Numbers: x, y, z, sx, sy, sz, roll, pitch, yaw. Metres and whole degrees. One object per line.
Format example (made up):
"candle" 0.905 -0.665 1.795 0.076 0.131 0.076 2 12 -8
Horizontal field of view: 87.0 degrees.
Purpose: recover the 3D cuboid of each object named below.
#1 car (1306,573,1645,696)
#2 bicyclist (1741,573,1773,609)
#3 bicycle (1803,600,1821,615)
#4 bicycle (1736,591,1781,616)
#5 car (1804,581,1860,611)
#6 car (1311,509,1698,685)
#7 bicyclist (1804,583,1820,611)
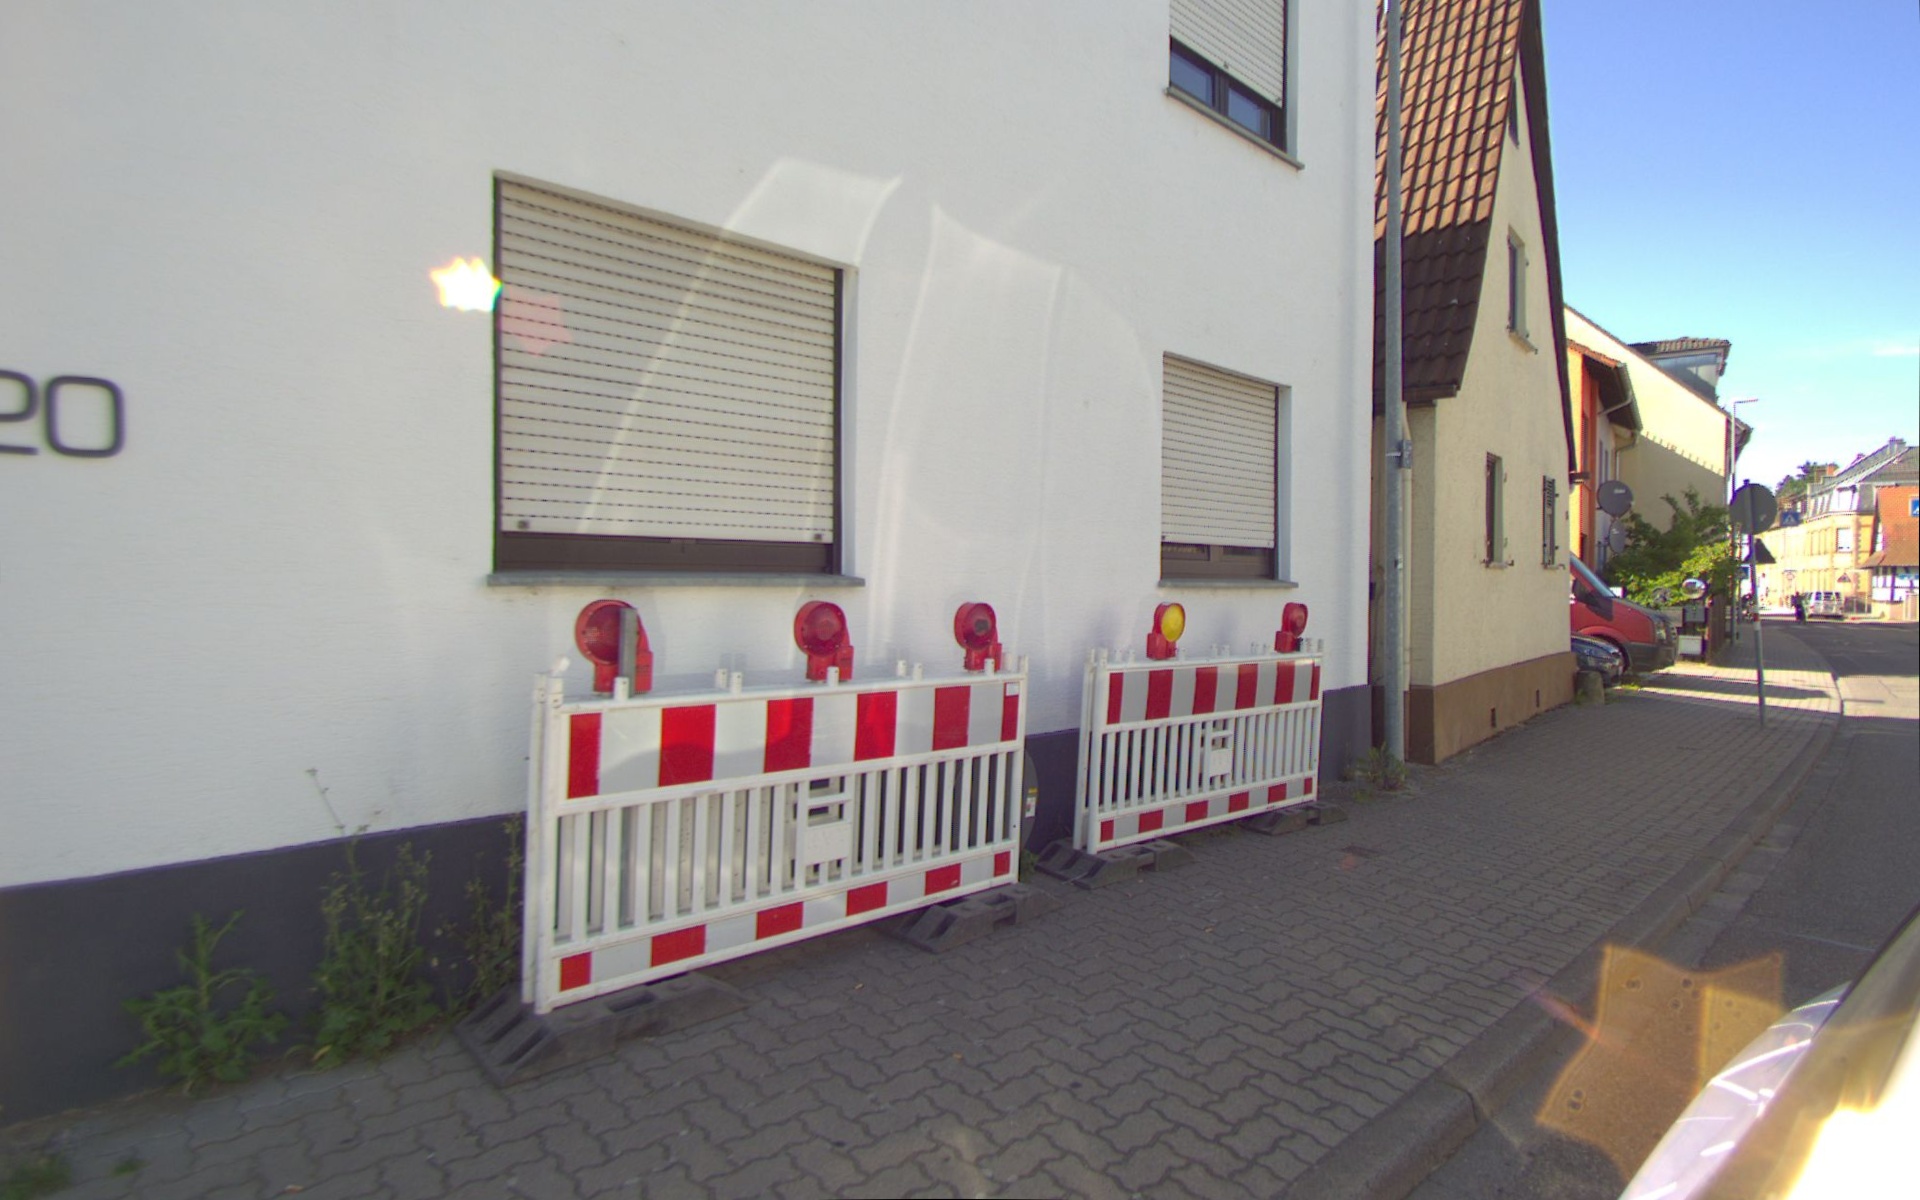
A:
"car" 7.847 0.408 15.622 4.367 1.505 1.814 4 3 39
"bicyclist" 53.185 -0.581 67.549 1.243 2.337 1.234 -2 0 22
"bicycle" 48.096 0.432 57.134 0.621 0.789 1.887 -2 0 37
"bicycle" 53.149 0.232 67.418 1.243 1.571 3.971 -2 0 22
"car" 58.568 -0.295 68.055 1.865 1.904 4.787 2 2 29
"car" 9.490 -0.206 18.011 5.790 2.687 1.942 3 3 37
"bicyclist" 48.084 -0.181 57.135 0.607 1.553 0.646 -2 -1 38
